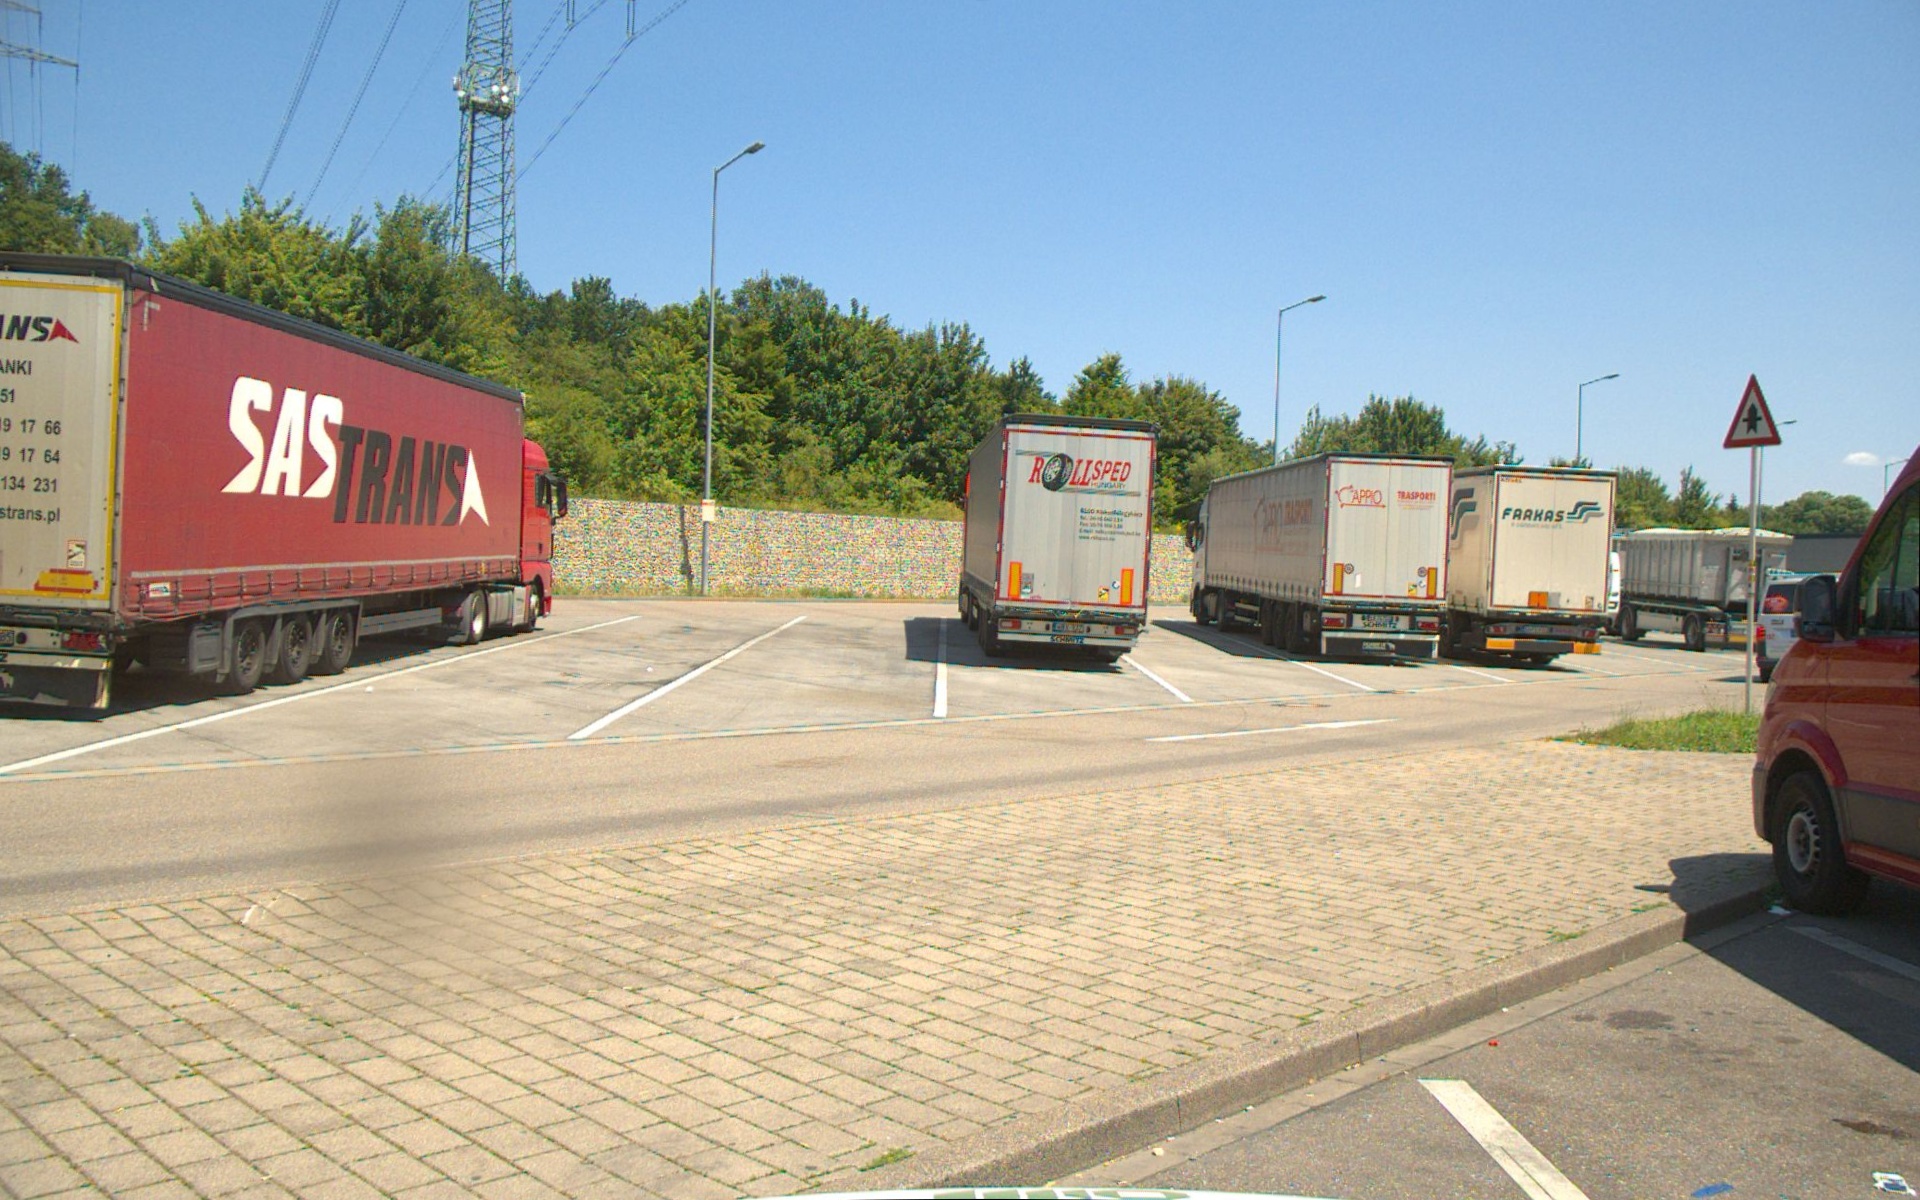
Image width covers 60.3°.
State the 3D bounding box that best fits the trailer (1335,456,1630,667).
[{"bbox_3d":[11.831,-1.022,39.224,2.808,4.107,12.438,2,2,-1],"label":"trailer"}]

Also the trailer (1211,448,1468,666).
[{"bbox_3d":[8.255,-1.088,38.106,2.808,4.107,12.438,2,2,-1],"label":"trailer"}]

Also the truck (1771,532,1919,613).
[{"bbox_3d":[34.712,-1.068,63.636,2.082,2.869,9.777,1,1,-1],"label":"truck"}]

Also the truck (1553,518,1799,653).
[{"bbox_3d":[21.757,-0.648,51.244,2.437,3.630,11.423,2,2,-1],"label":"truck"}]

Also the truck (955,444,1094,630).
[{"bbox_3d":[1.433,-1.563,40.752,2.809,4.107,7.026,2,2,-2],"label":"truck"}]

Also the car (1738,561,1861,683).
[{"bbox_3d":[16.419,0.353,32.558,1.954,2.187,5.309,1,1,25],"label":"car"}]

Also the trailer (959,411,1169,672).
[{"bbox_3d":[1.663,-1.237,33.672,2.809,4.107,14.238,2,2,-2],"label":"trailer"}]

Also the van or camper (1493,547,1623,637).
[{"bbox_3d":[18.368,-0.289,51.113,2.061,2.606,5.372,1,1,0],"label":"van or camper"}]

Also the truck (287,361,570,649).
[{"bbox_3d":[-8.689,-1.525,27.880,2.641,4.184,6.239,2,2,0],"label":"truck"}]

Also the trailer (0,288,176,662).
[{"bbox_3d":[-12.539,-1.402,17.164,2.756,4.341,12.940,2,2,-1],"label":"trailer"}]

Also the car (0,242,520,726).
[{"bbox_3d":[-8.668,-1.277,20.963,2.641,4.184,12.935,2,2,0],"label":"car"}]

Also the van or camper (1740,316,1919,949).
[{"bbox_3d":[4.997,0.174,5.561,1.954,2.700,6.482,1,1,3],"label":"van or camper"}]

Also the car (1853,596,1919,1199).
[{"bbox_3d":[2.547,0.795,1.114,1.584,1.509,3.762,1,1,-6],"label":"car"}]

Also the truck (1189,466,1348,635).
[{"bbox_3d":[8.176,-1.383,44.737,2.808,4.107,6.956,2,2,-1],"label":"truck"}]
